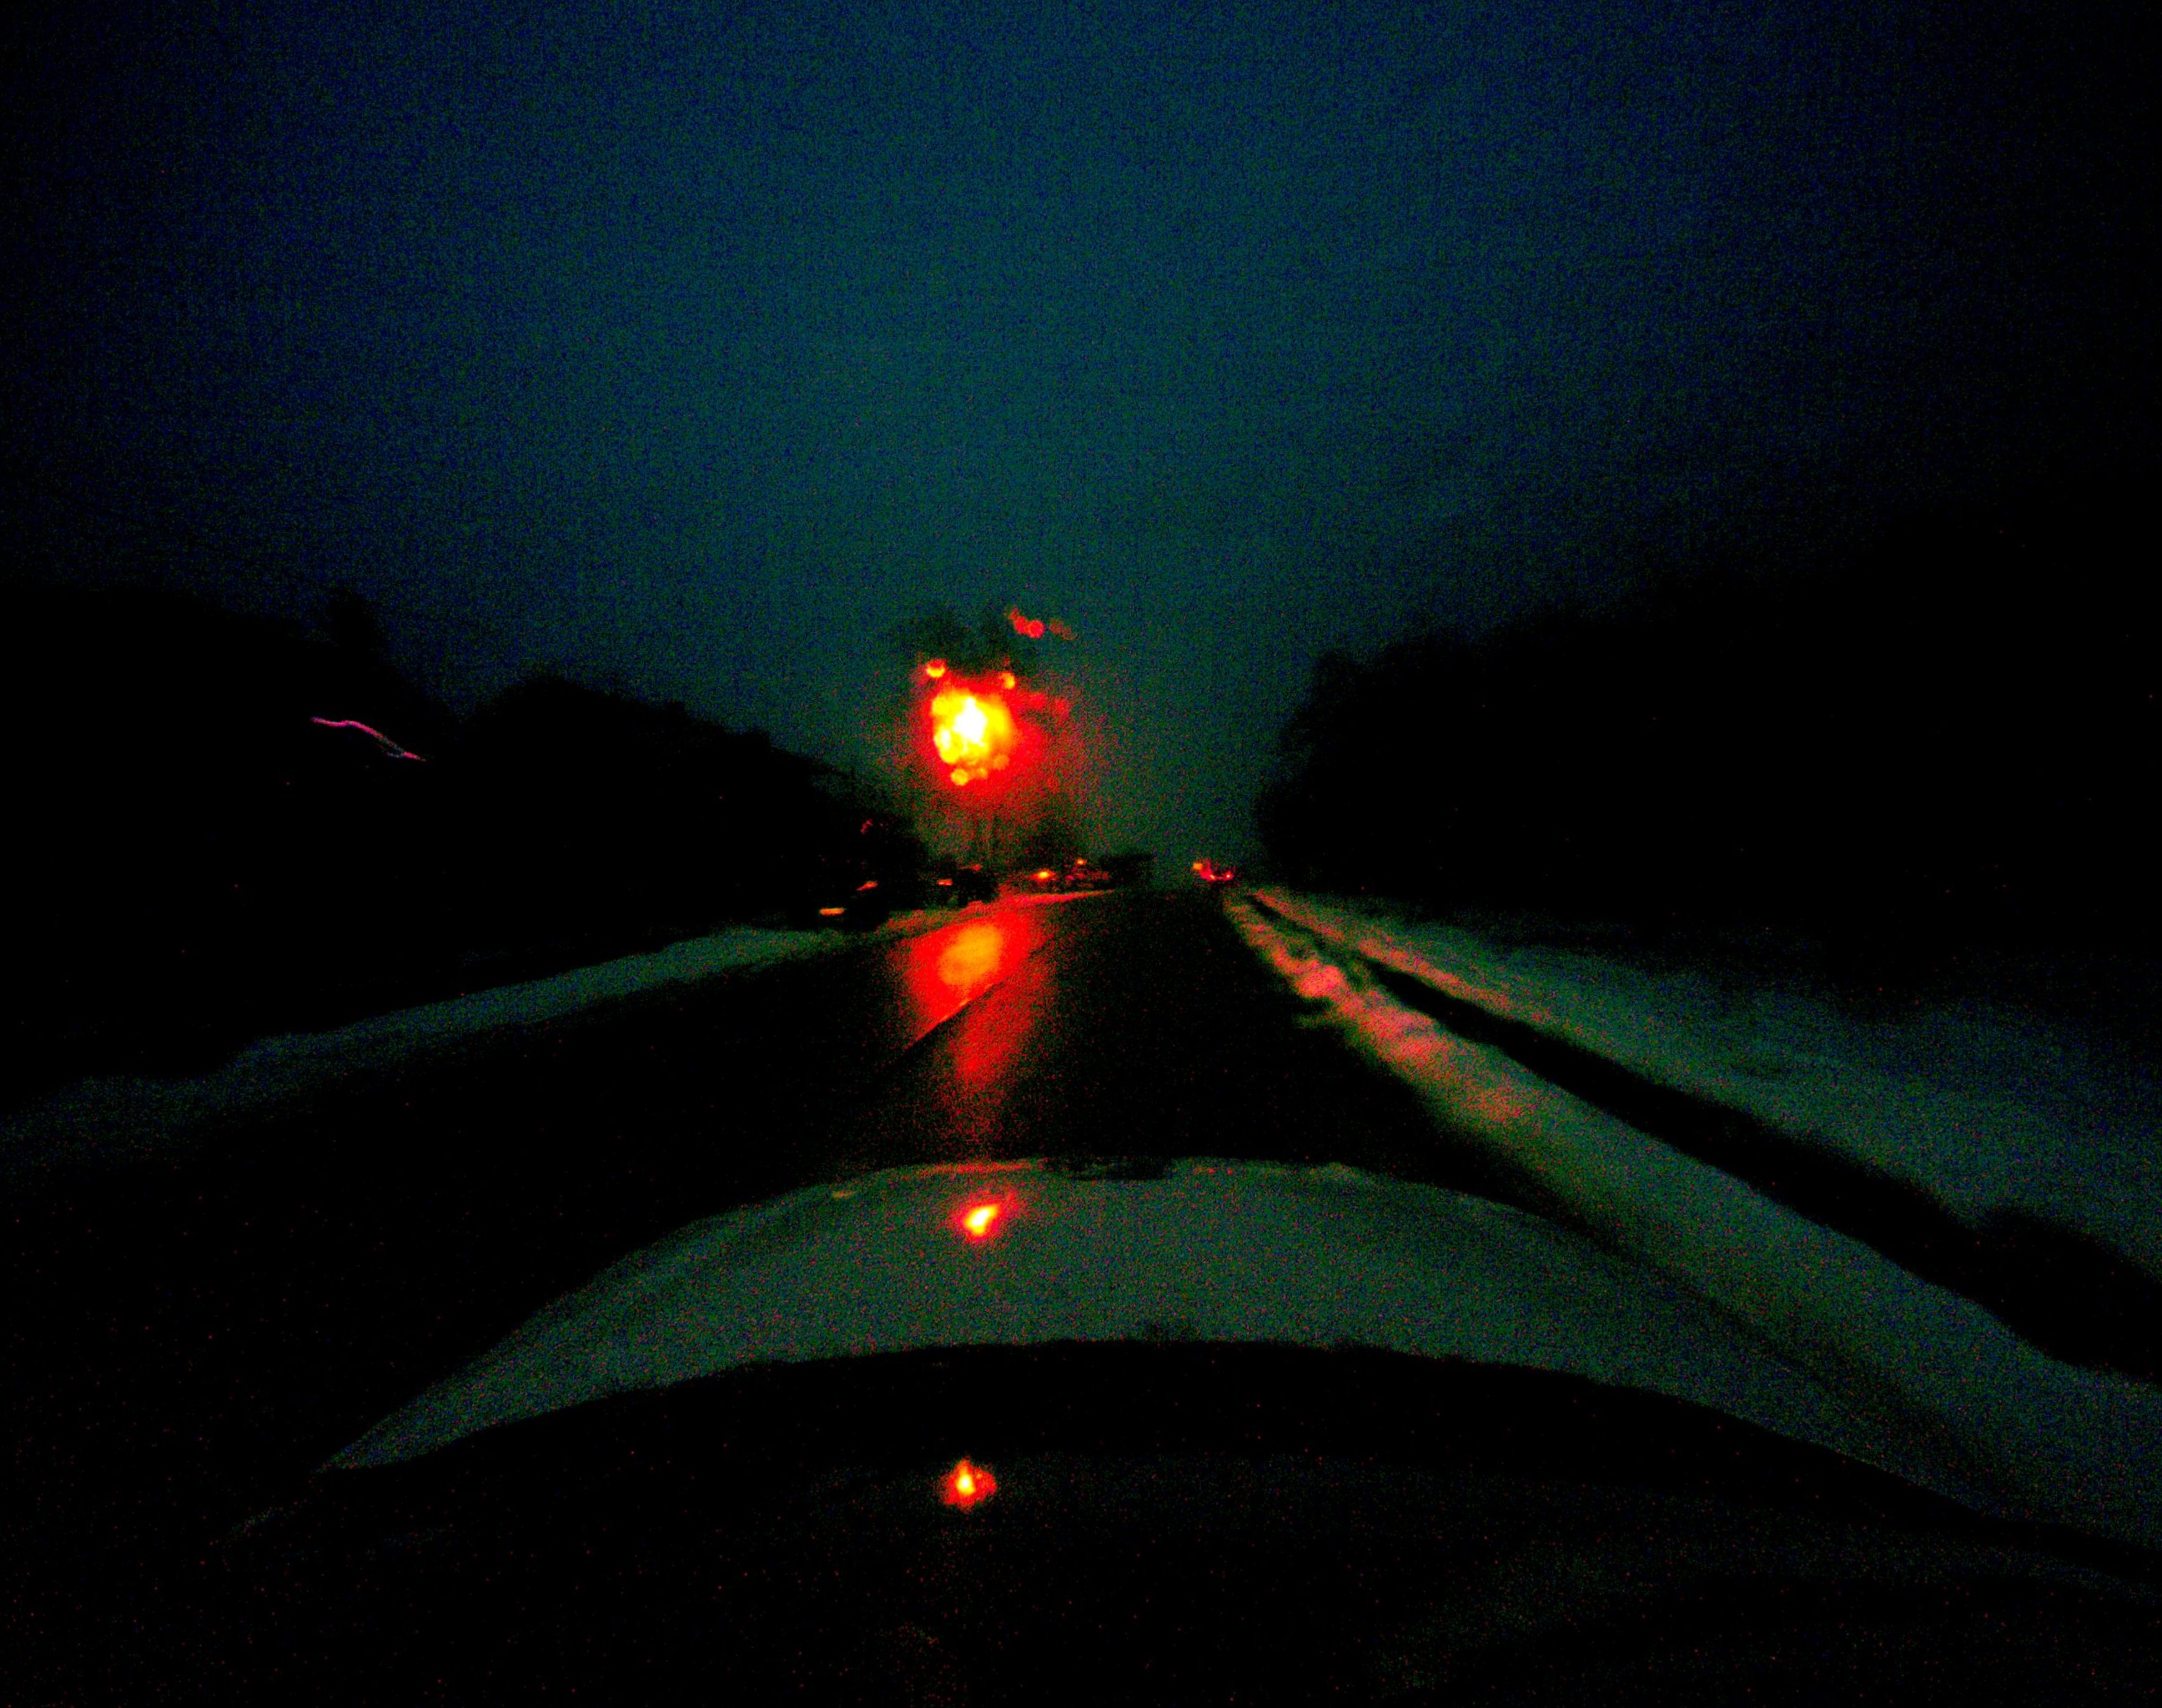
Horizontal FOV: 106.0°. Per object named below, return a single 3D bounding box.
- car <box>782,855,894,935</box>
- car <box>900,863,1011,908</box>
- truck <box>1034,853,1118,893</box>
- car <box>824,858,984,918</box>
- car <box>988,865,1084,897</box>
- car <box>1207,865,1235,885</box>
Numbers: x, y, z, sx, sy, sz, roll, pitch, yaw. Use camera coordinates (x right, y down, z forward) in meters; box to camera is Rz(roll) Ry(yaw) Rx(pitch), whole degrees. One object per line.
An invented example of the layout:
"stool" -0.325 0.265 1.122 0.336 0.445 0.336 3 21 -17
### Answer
"car" -5.737 0.945 19.841 1.994 1.566 4.978 -4 -1 -10
"car" -4.770 1.197 31.409 3.838 1.471 1.940 -3 -1 3
"truck" -0.298 1.248 54.218 5.234 2.303 2.003 -3 -1 6
"car" -5.454 1.048 25.615 4.514 1.566 2.110 -3 -1 -1
"car" -2.398 1.457 44.585 4.861 1.485 2.127 -3 -2 7
"car" 10.456 1.617 60.872 1.982 1.420 4.009 0 -3 9
